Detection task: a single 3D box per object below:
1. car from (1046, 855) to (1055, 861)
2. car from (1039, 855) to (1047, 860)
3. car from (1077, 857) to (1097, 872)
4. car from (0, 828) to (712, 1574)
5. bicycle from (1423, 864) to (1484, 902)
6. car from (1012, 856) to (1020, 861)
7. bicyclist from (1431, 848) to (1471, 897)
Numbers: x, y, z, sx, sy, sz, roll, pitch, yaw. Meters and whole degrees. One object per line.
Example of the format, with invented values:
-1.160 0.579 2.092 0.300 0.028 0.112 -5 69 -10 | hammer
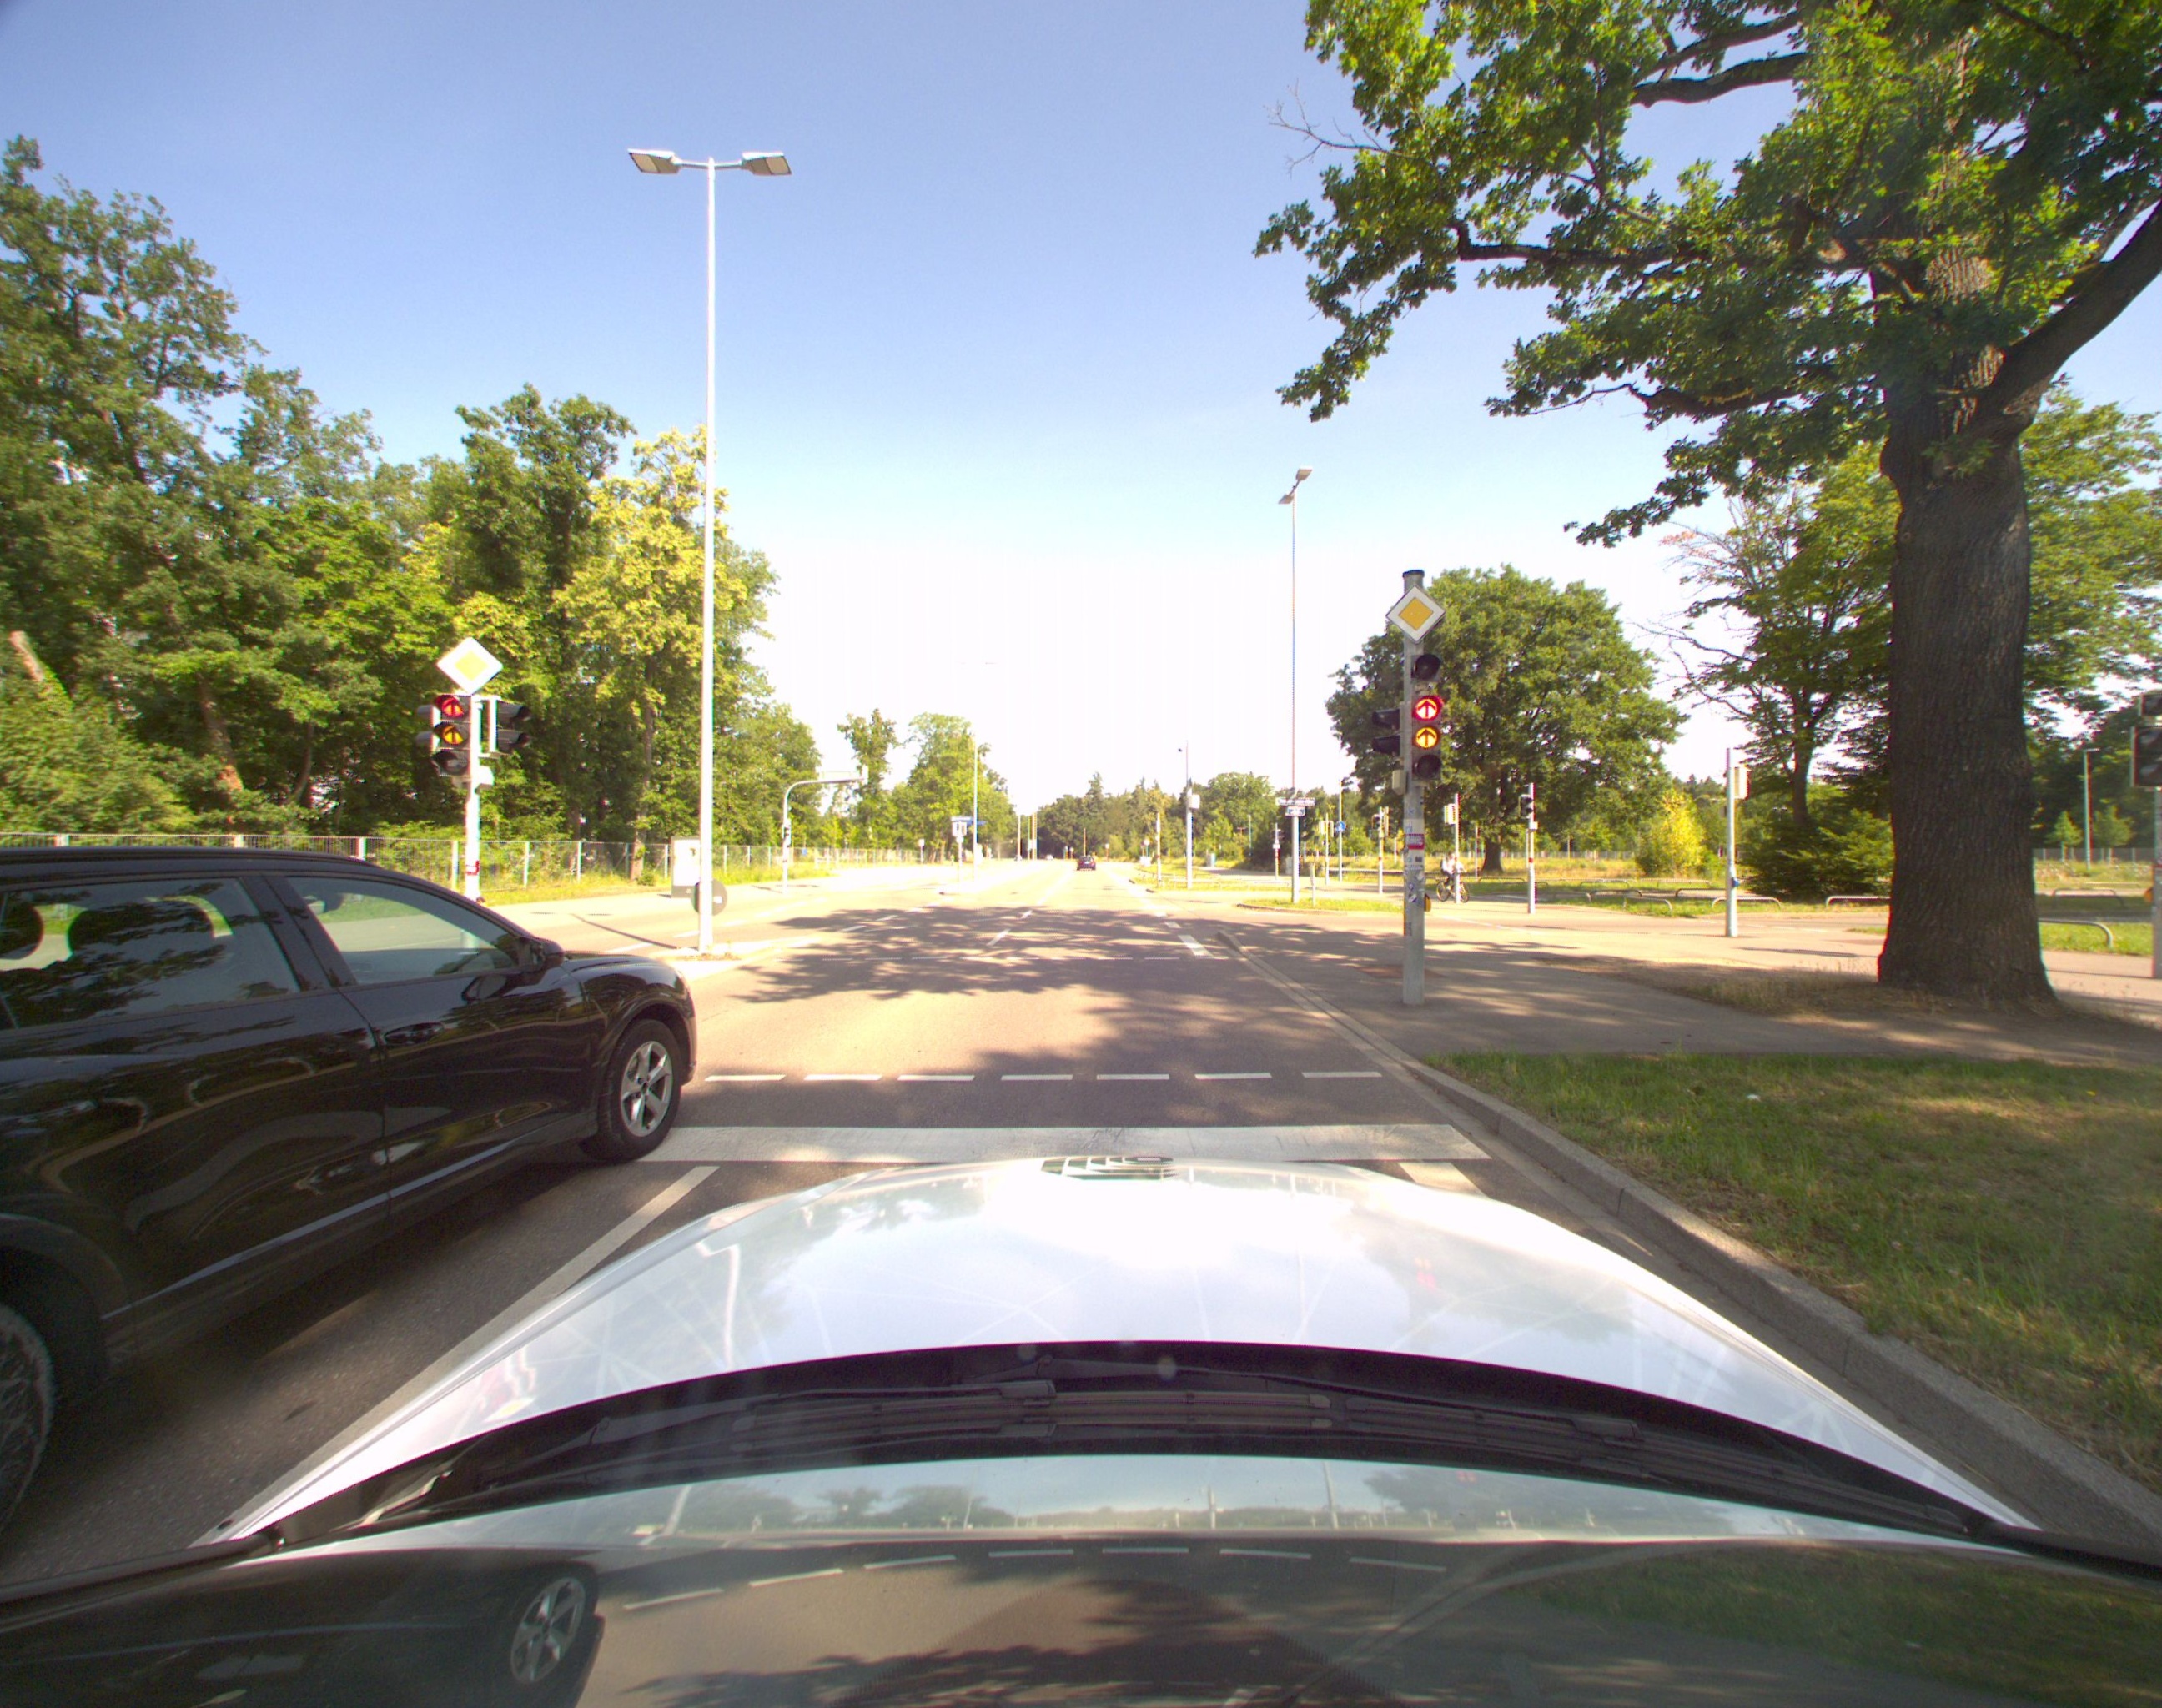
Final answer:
-8.750 1.249 233.513 1.994 1.750 3.985 0 -1 -11 | car
-11.959 1.151 253.750 1.994 1.596 3.985 0 0 -11 | car
0.576 1.005 81.610 1.935 1.420 4.291 0 0 -1 | car
-3.061 0.732 2.658 1.681 1.544 4.150 -1 0 2 | car
12.495 0.937 27.384 0.725 1.199 2.091 0 0 -14 | bicycle
-17.582 1.166 221.299 1.810 1.388 4.149 -2 0 -8 | car
12.480 0.606 27.489 0.725 1.639 1.053 0 0 -14 | bicyclist
